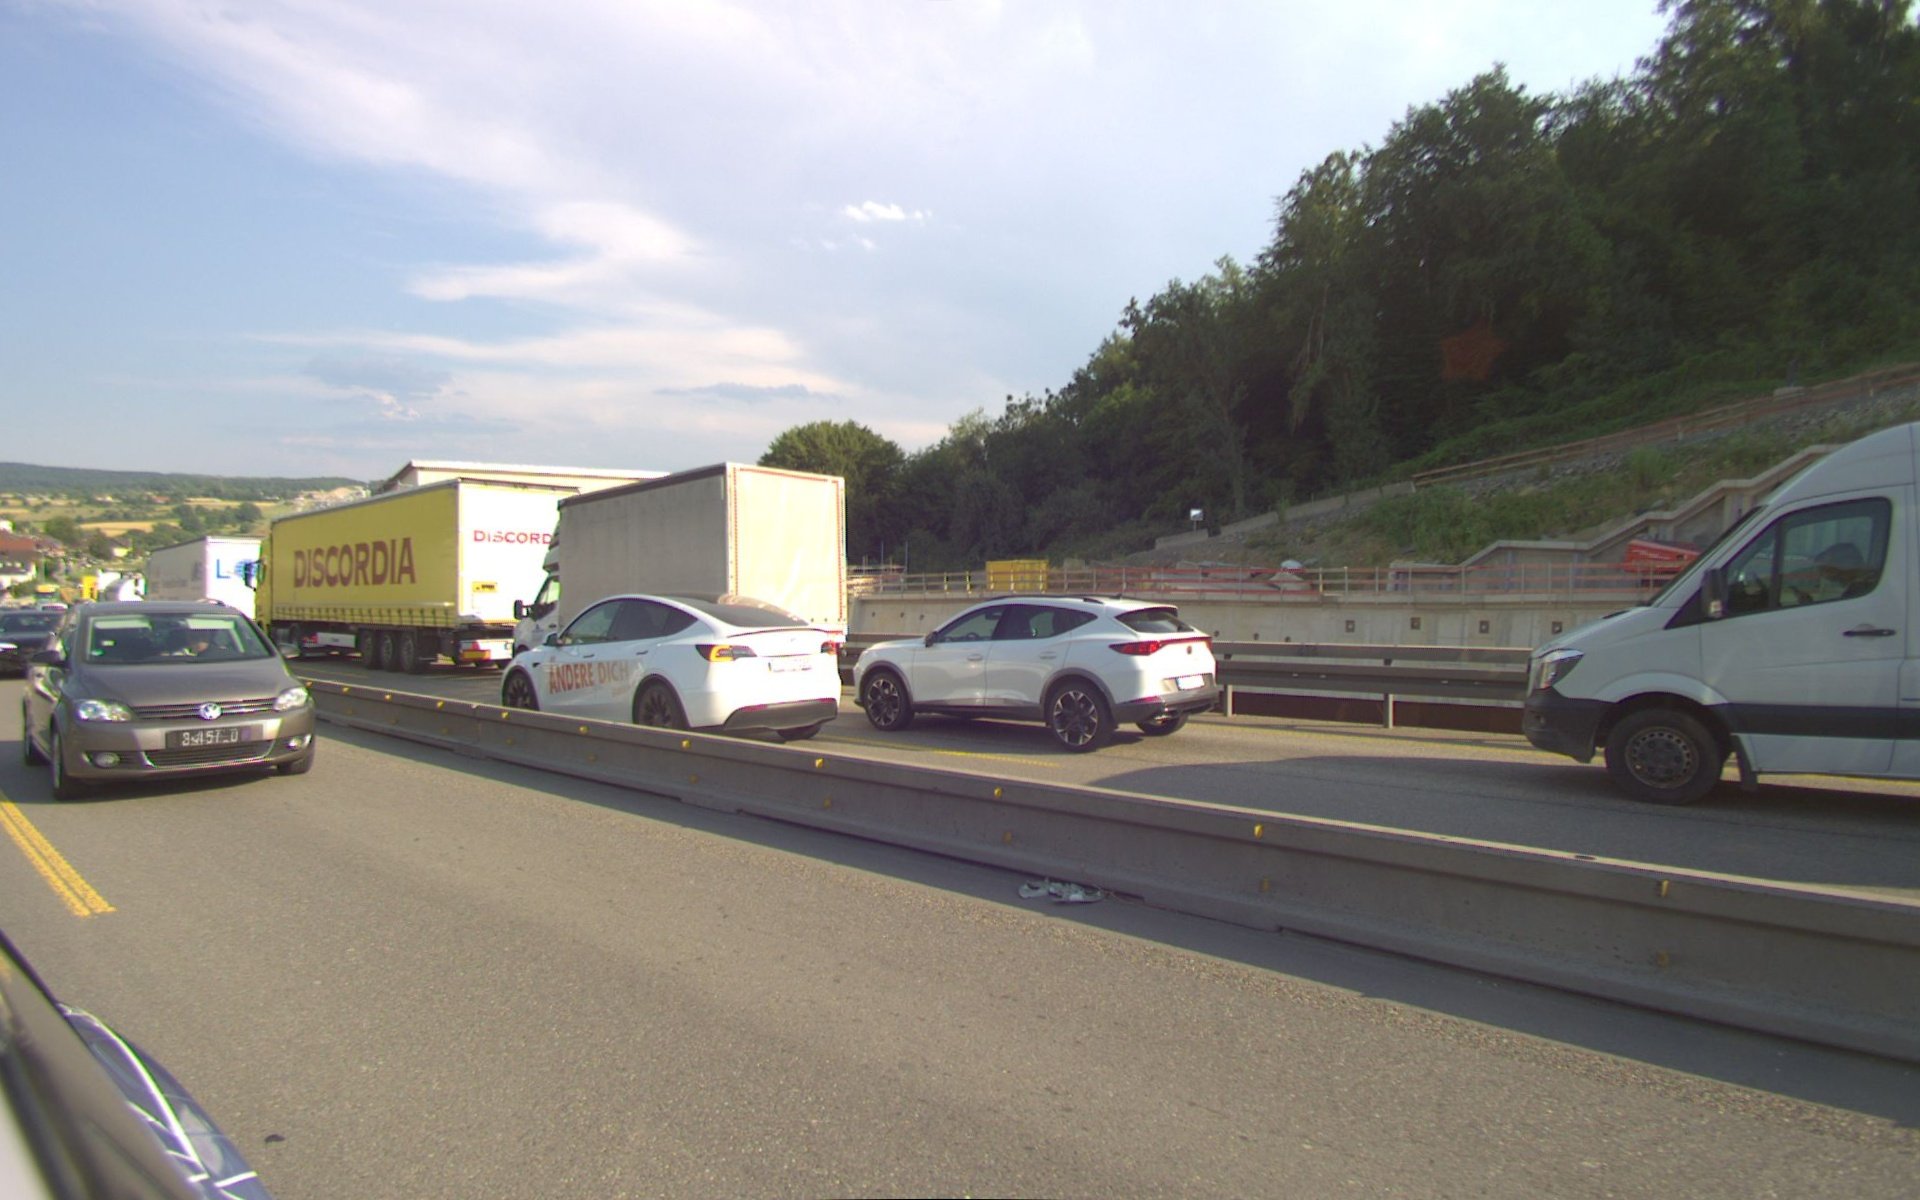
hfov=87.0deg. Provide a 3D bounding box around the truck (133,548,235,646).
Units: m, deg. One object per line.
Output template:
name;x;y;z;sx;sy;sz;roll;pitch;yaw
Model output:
truck;-34.848;-0.093;45.355;6.104;4.066;2.812;0;-1;45

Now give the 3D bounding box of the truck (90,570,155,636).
truck;-51.963;0.186;62.720;2.569;3.917;6.207;0;-1;-44

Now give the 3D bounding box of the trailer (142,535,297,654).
trailer;-29.916;-0.137;40.493;13.976;4.066;2.825;0;-1;45

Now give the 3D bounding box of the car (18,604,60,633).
car;-61.555;1.214;67.596;4.002;1.925;1.841;0;-1;45

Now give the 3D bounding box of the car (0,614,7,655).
car;-35.279;1.246;36.181;1.675;1.409;4.003;-2;0;-44

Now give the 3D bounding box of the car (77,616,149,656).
car;-33.496;1.391;39.976;1.787;1.436;4.676;-1;0;-45

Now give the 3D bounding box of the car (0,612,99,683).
car;-20.528;0.989;22.455;4.002;1.409;1.841;0;-1;45

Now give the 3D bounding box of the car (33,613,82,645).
car;-43.554;1.351;48.889;1.635;1.440;4.572;-1;0;-40

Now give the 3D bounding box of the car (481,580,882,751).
car;-3.251;0.690;11.252;4.724;1.498;2.036;-2;-4;41

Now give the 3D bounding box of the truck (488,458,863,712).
truck;-5.162;-0.173;17.311;7.613;3.489;2.422;-1;-1;41

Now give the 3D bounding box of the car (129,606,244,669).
car;-20.754;0.948;27.094;4.285;1.535;1.637;-1;0;41

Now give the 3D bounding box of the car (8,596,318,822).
car;-7.368;0.784;9.197;4.101;1.585;1.665;-1;0;44

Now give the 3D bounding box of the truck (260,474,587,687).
truck;-14.060;-0.321;25.379;14.152;4.119;2.678;0;-1;43

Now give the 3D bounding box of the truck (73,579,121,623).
truck;-76.972;0.094;90.207;2.858;3.738;9.499;1;0;-43

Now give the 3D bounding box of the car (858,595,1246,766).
car;0.874;0.732;11.087;4.001;1.535;1.745;-1;0;42

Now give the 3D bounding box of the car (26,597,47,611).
car;-144.602;0.668;158.460;4.751;2.015;1.799;-2;-3;40

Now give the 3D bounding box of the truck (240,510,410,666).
truck;-18.739;-0.286;29.709;6.100;4.119;2.684;0;-1;43

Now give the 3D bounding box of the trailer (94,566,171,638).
trailer;-48.587;0.152;59.280;2.567;3.910;10.584;0;-1;-44

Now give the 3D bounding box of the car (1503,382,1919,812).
car;6.936;-0.010;6.567;5.746;2.640;1.936;0;-1;42
